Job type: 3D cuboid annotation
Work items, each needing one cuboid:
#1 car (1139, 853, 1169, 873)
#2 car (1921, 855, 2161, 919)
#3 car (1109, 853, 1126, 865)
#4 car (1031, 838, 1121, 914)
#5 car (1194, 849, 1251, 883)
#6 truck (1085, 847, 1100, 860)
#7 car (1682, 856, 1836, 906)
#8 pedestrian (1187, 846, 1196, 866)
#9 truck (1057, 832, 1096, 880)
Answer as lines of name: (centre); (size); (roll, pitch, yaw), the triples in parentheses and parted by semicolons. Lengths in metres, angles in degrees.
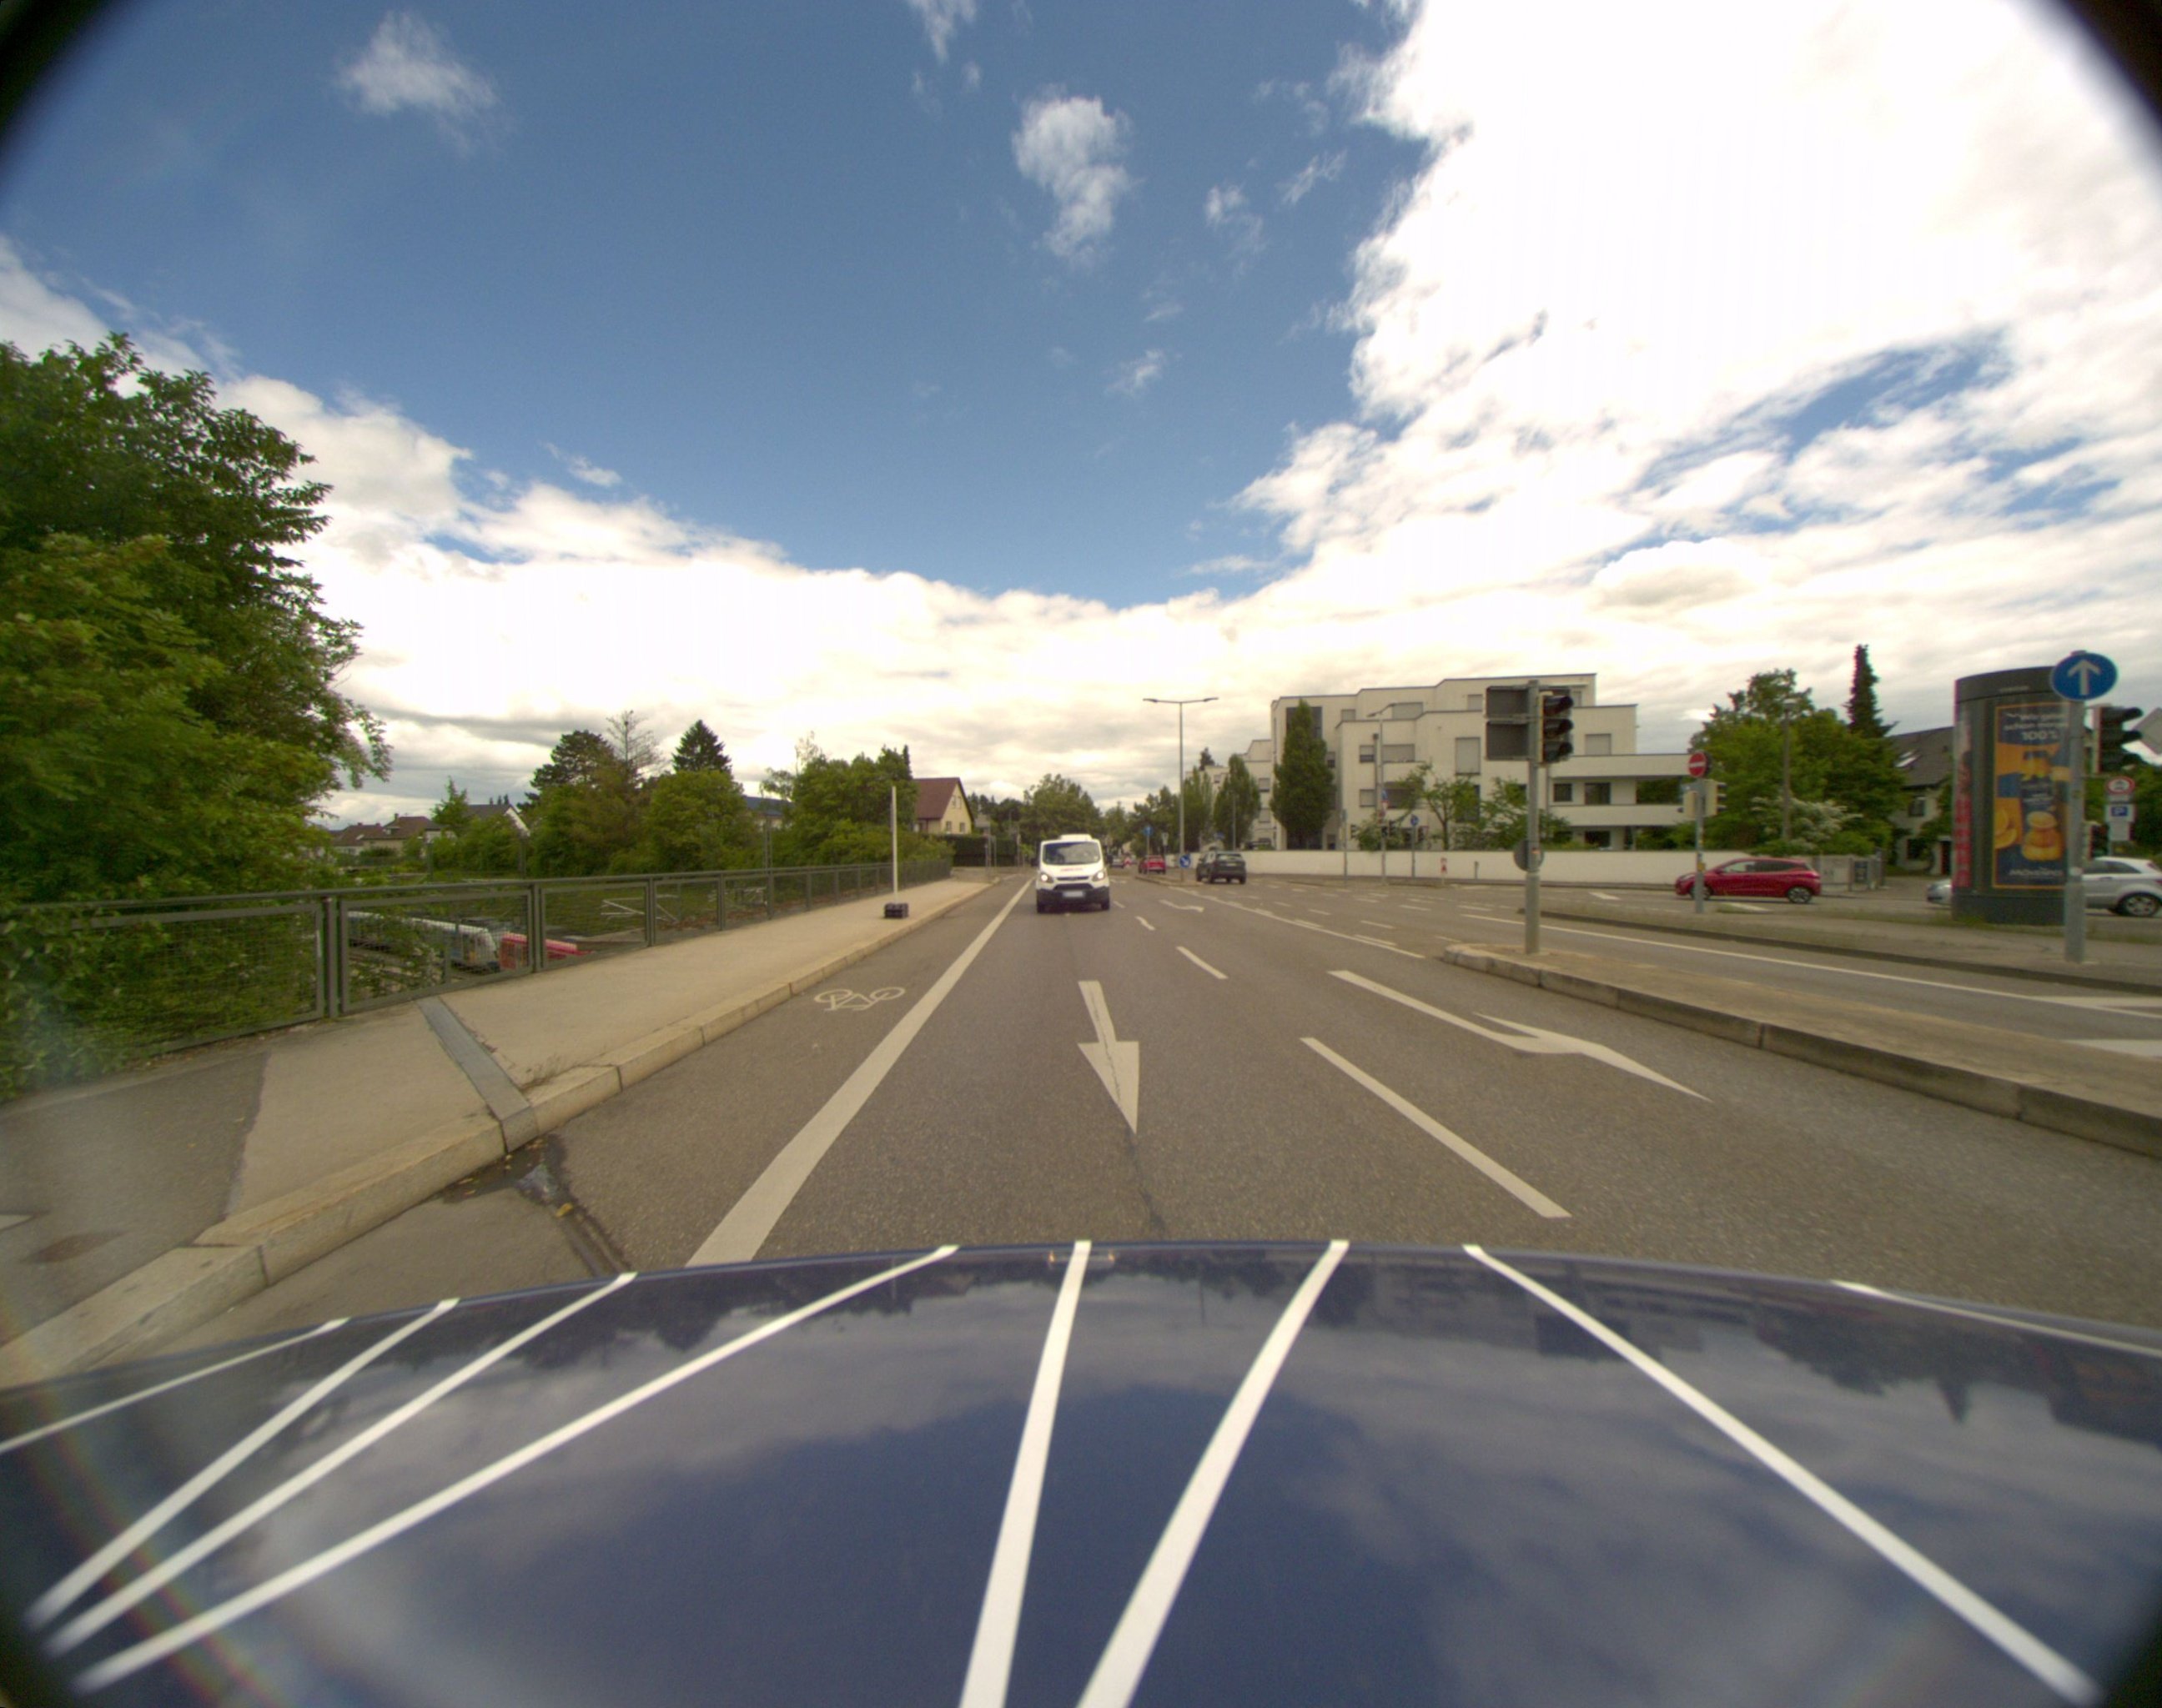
car: (5.760, 0.673, 60.155); (1.725, 1.439, 4.065); (1, 1, -3)
car: (26.715, 0.862, 21.277); (4.117, 1.526, 1.651); (2, 1, 43)
car: (4.465, 0.601, 92.962); (1.648, 1.401, 3.817); (0, 1, -5)
car: (0.002, 0.582, 23.148); (2.074, 1.956, 5.559); (-3, 0, 6)
car: (7.105, 0.557, 38.501); (1.828, 1.617, 4.277); (1, 1, -3)
truck: (1.708, -0.067, 111.320); (1.614, 1.780, 4.003); (1, 0, 8)
car: (22.594, 0.843, 25.461); (3.691, 1.439, 1.779); (2, 2, 42)
pedestrian: (11.168, 0.169, 76.644); (0.650, 1.937, 0.871); (-3, 1, -1)
truck: (-0.324, 0.084, 43.571); (2.036, 2.555, 6.056); (1, 0, -1)
